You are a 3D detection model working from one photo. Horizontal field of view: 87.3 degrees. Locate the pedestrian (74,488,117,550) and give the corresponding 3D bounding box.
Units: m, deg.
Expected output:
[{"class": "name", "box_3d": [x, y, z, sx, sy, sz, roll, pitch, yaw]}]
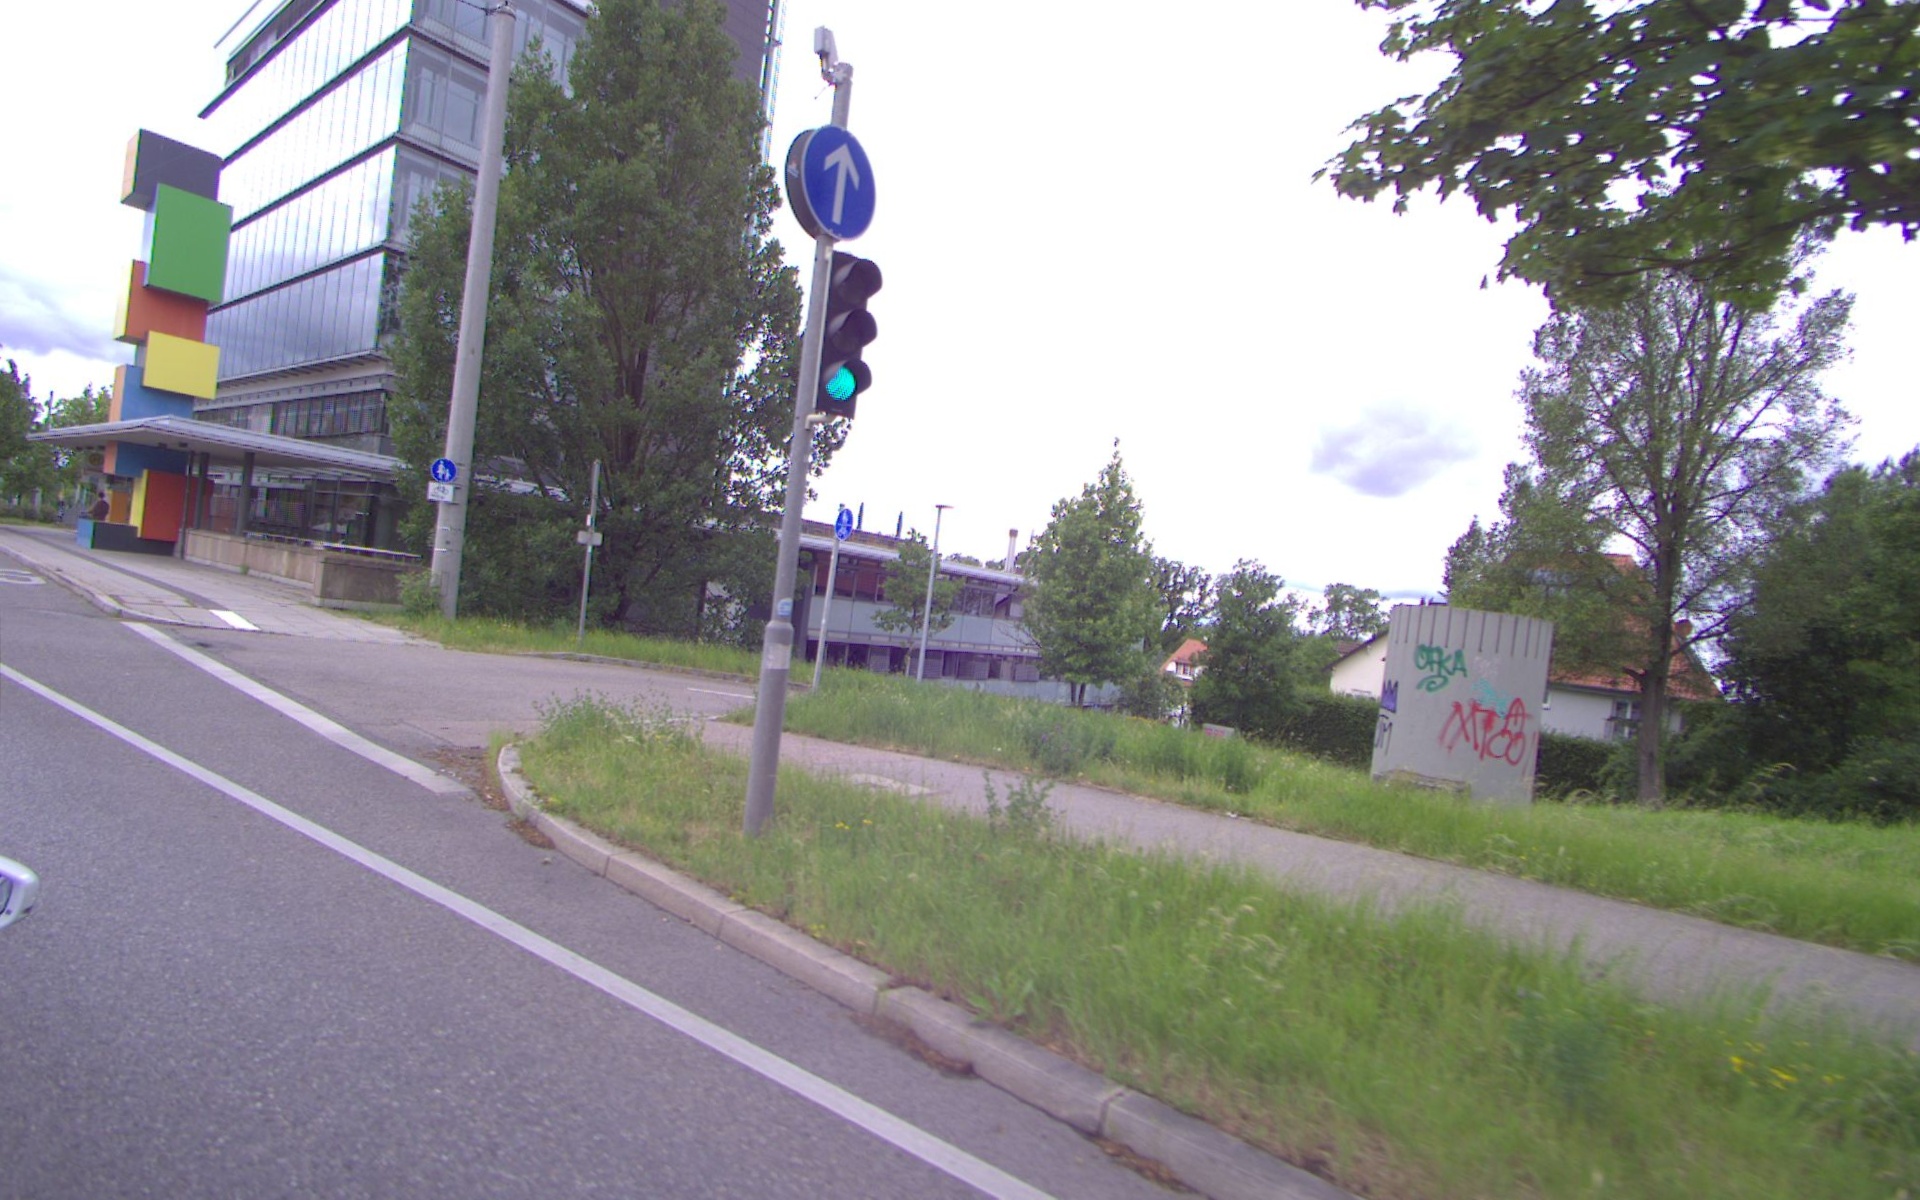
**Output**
[{"class": "pedestrian", "box_3d": [-27.416, -2.567, 31.917, 0.752, 1.838, 0.710, 7, 0, 33]}]
